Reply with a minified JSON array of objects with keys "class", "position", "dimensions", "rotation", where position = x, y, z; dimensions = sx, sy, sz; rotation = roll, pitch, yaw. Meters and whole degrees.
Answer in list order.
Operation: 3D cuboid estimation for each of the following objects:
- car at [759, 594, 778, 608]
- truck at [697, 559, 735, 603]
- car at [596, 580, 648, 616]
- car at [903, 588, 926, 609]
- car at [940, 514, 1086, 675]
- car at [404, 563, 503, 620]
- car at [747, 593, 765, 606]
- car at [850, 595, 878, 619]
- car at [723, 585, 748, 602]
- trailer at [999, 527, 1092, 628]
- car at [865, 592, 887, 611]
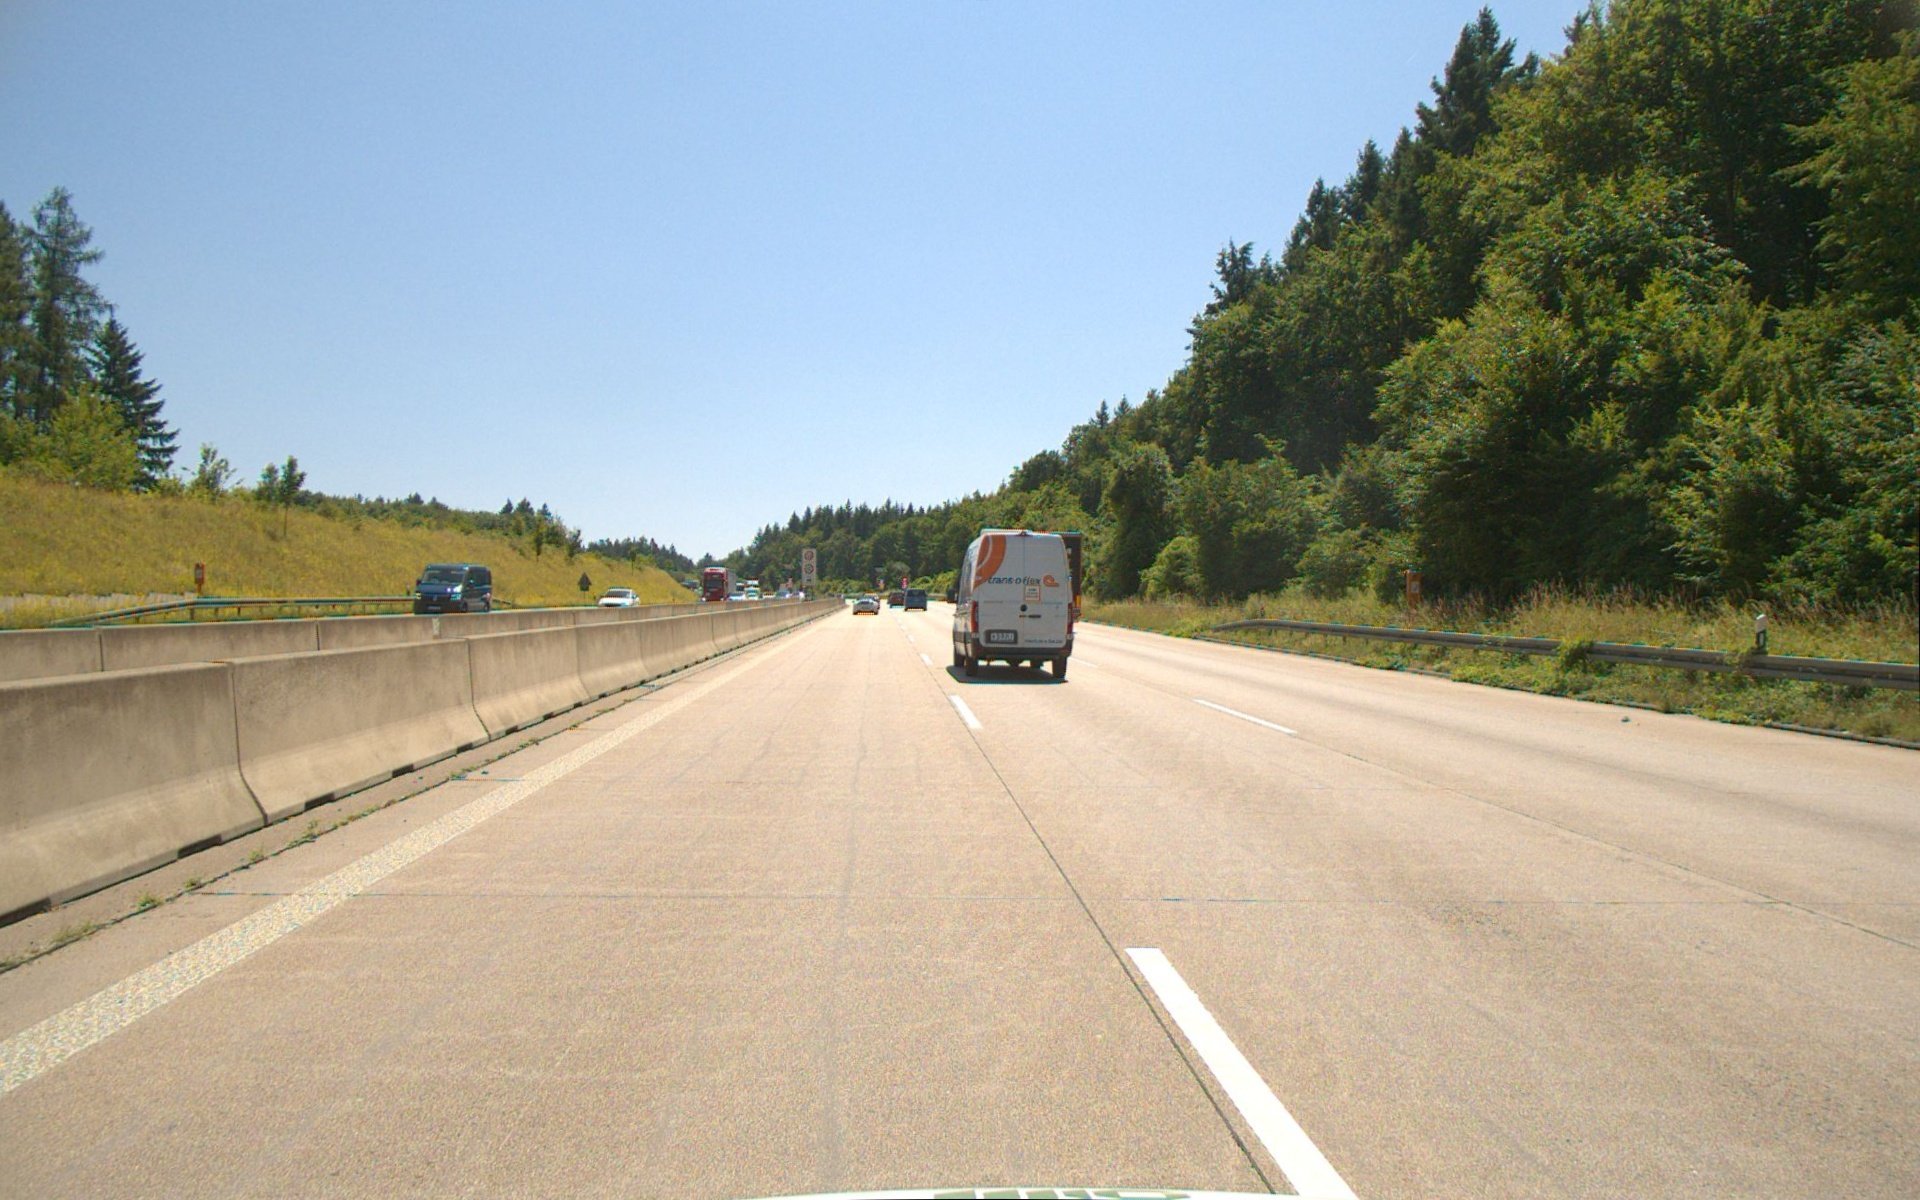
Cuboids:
[{"class":"car","position":[-23.665,0.137,204.321],"dimensions":[1.954,1.722,4.813],"rotation":[1,0,-3]},{"class":"truck","position":[-26.137,-1.971,177.614],"dimensions":[3.319,4.509,6.796],"rotation":[1,0,-3]},{"class":"car","position":[-18.003,-0.121,88.219],"dimensions":[1.968,1.839,4.851],"rotation":[1,0,-3]},{"class":"car","position":[-3.845,-0.124,139.352],"dimensions":[1.953,1.713,3.998],"rotation":[1,0,-2]},{"class":"car","position":[0.932,-0.141,32.711],"dimensions":[2.183,2.893,5.448],"rotation":[-1,1,-6]},{"class":"car","position":[-21.299,-0.360,69.911],"dimensions":[2.431,2.248,6.455],"rotation":[1,0,-3]},{"class":"car","position":[-25.536,-0.016,207.401],"dimensions":[1.954,1.586,4.496],"rotation":[1,0,-3]},{"class":"car","position":[-6.876,0.498,119.022],"dimensions":[1.954,1.713,3.997],"rotation":[1,0,-3]},{"class":"car","position":[-21.163,-0.630,156.243],"dimensions":[1.954,1.591,3.998],"rotation":[1,0,-3]},{"class":"trailer","position":[3.628,-0.935,72.345],"dimensions":[3.072,4.087,9.082],"rotation":[-1,0,-3]},{"class":"car","position":[-7.835,0.114,153.616],"dimensions":[1.954,1.713,3.997],"rotation":[1,0,-3]}]
